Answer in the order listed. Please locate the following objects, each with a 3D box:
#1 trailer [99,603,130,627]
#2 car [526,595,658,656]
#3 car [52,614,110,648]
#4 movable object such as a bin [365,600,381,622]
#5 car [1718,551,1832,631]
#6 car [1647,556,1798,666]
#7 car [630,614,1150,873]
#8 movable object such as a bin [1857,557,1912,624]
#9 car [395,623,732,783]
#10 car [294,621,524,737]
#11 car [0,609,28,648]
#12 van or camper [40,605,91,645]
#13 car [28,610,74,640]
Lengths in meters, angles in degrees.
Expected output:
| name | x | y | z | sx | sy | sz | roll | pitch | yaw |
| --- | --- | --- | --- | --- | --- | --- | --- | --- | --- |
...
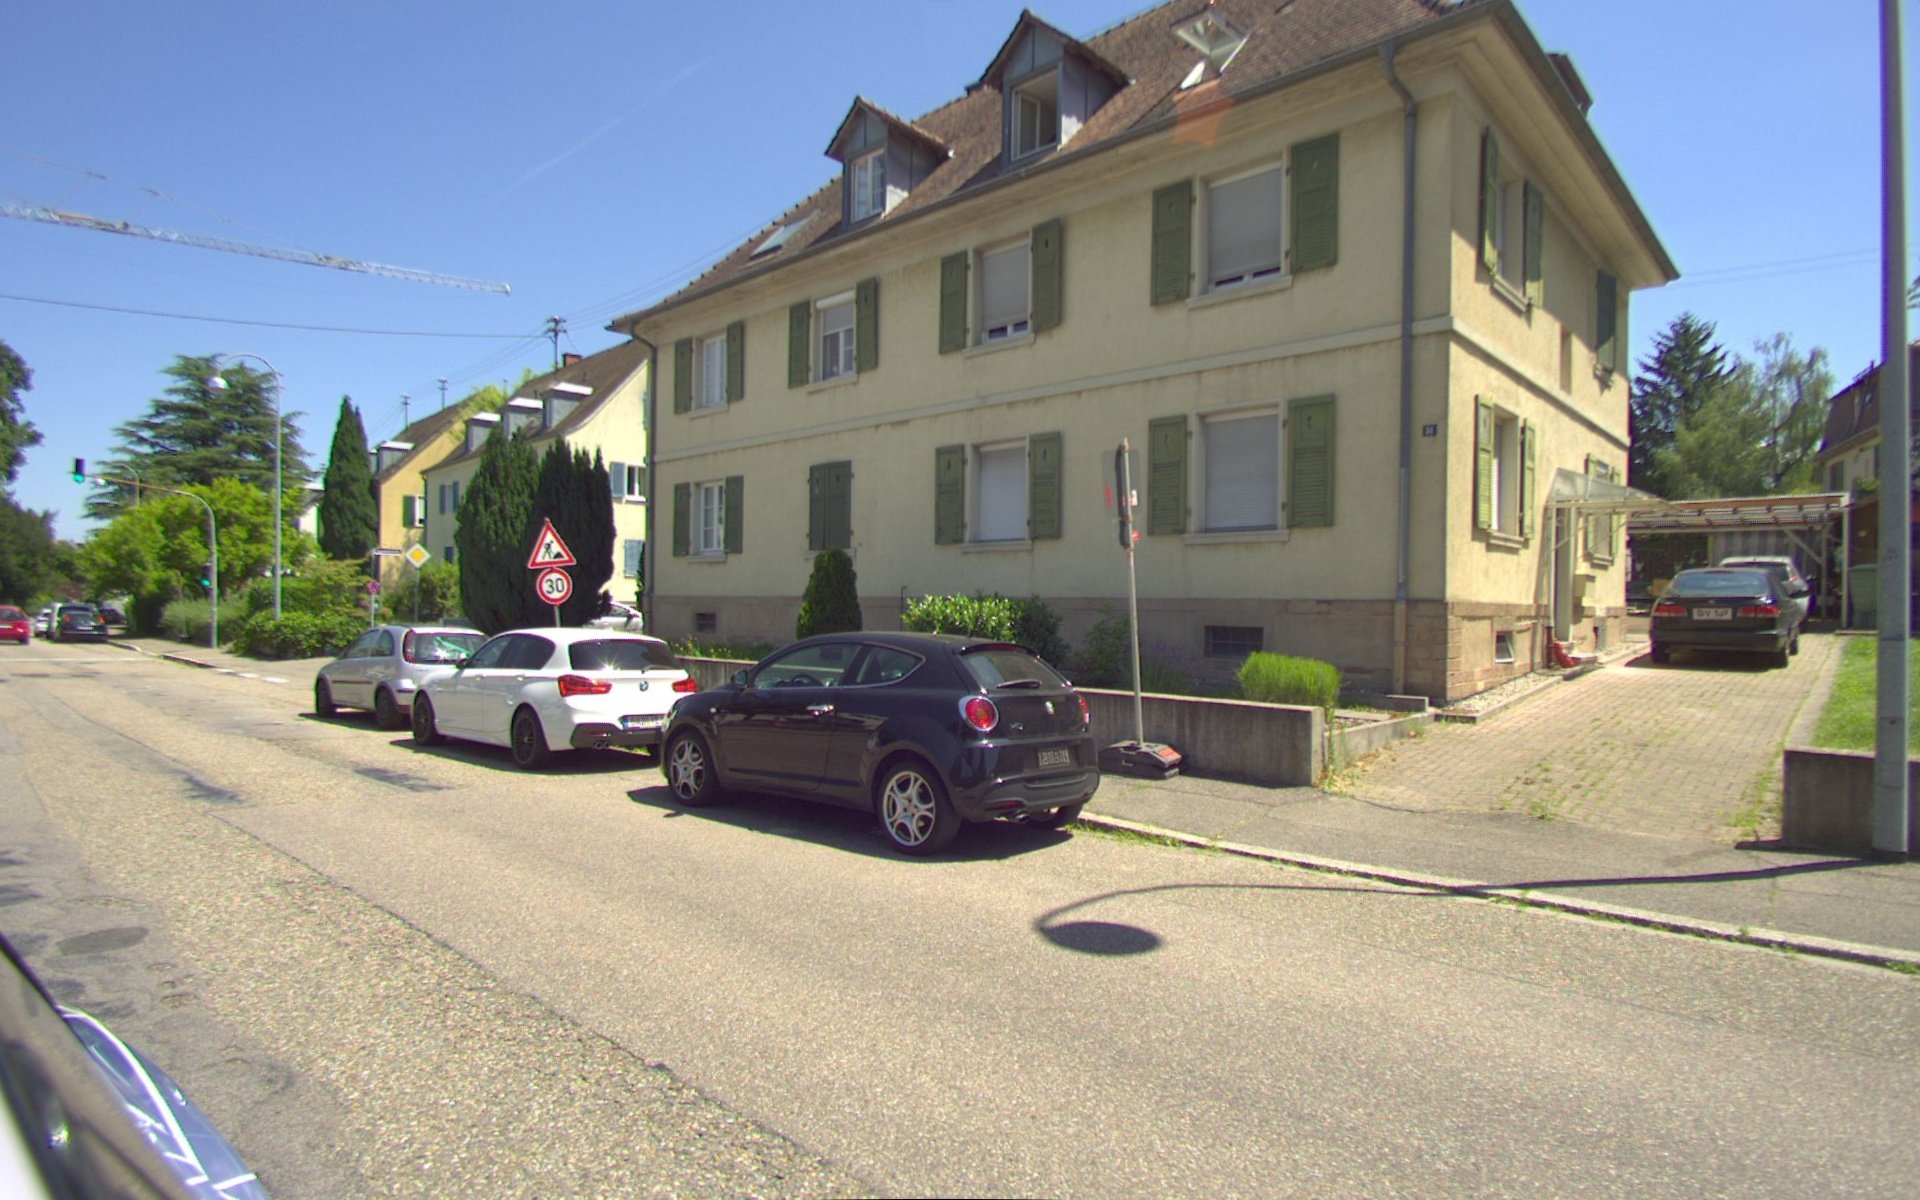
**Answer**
| name | x | y | z | sx | sy | sz | roll | pitch | yaw |
| --- | --- | --- | --- | --- | --- | --- | --- | --- | --- |
| trailer | -77.326 | 1.353 | 92.579 | 1.790 | 2.049 | 4.009 | 4 | -3 | -36 |
| car | -10.758 | 0.698 | 29.630 | 3.163 | 1.467 | 1.738 | -5 | 4 | -41 |
| car | -39.610 | 1.373 | 45.589 | 1.662 | 1.423 | 3.929 | 3 | -2 | -45 |
| movable object such as a bin | -31.963 | 0.591 | 55.132 | 0.613 | 1.205 | 0.674 | 1 | -1 | -43 |
| car | 16.579 | -0.190 | 20.606 | 1.663 | 1.475 | 3.559 | -1 | 0 | 39 |
| car | 11.755 | 0.141 | 15.537 | 1.663 | 1.475 | 3.659 | -1 | 0 | 39 |
| car | -0.726 | 0.903 | 7.999 | 4.074 | 1.496 | 1.698 | 0 | -2 | 41 |
| movable object such as a bin | 17.611 | -0.174 | 19.273 | 0.769 | 1.240 | 0.722 | 1 | -1 | -44 |
| car | -4.583 | 1.011 | 11.399 | 4.217 | 1.413 | 1.775 | 0 | -2 | 41 |
| car | -8.288 | 1.084 | 15.087 | 3.923 | 1.458 | 1.741 | 0 | -2 | 41 |
| car | -40.378 | 1.176 | 42.292 | 3.696 | 1.578 | 1.794 | 0 | -2 | 43 |
| van or camper | -43.313 | 1.205 | 48.997 | 1.661 | 1.818 | 3.989 | 3 | -2 | -43 |
| car | -47.148 | 1.297 | 52.558 | 1.660 | 1.452 | 4.253 | 3 | -2 | -41 |
